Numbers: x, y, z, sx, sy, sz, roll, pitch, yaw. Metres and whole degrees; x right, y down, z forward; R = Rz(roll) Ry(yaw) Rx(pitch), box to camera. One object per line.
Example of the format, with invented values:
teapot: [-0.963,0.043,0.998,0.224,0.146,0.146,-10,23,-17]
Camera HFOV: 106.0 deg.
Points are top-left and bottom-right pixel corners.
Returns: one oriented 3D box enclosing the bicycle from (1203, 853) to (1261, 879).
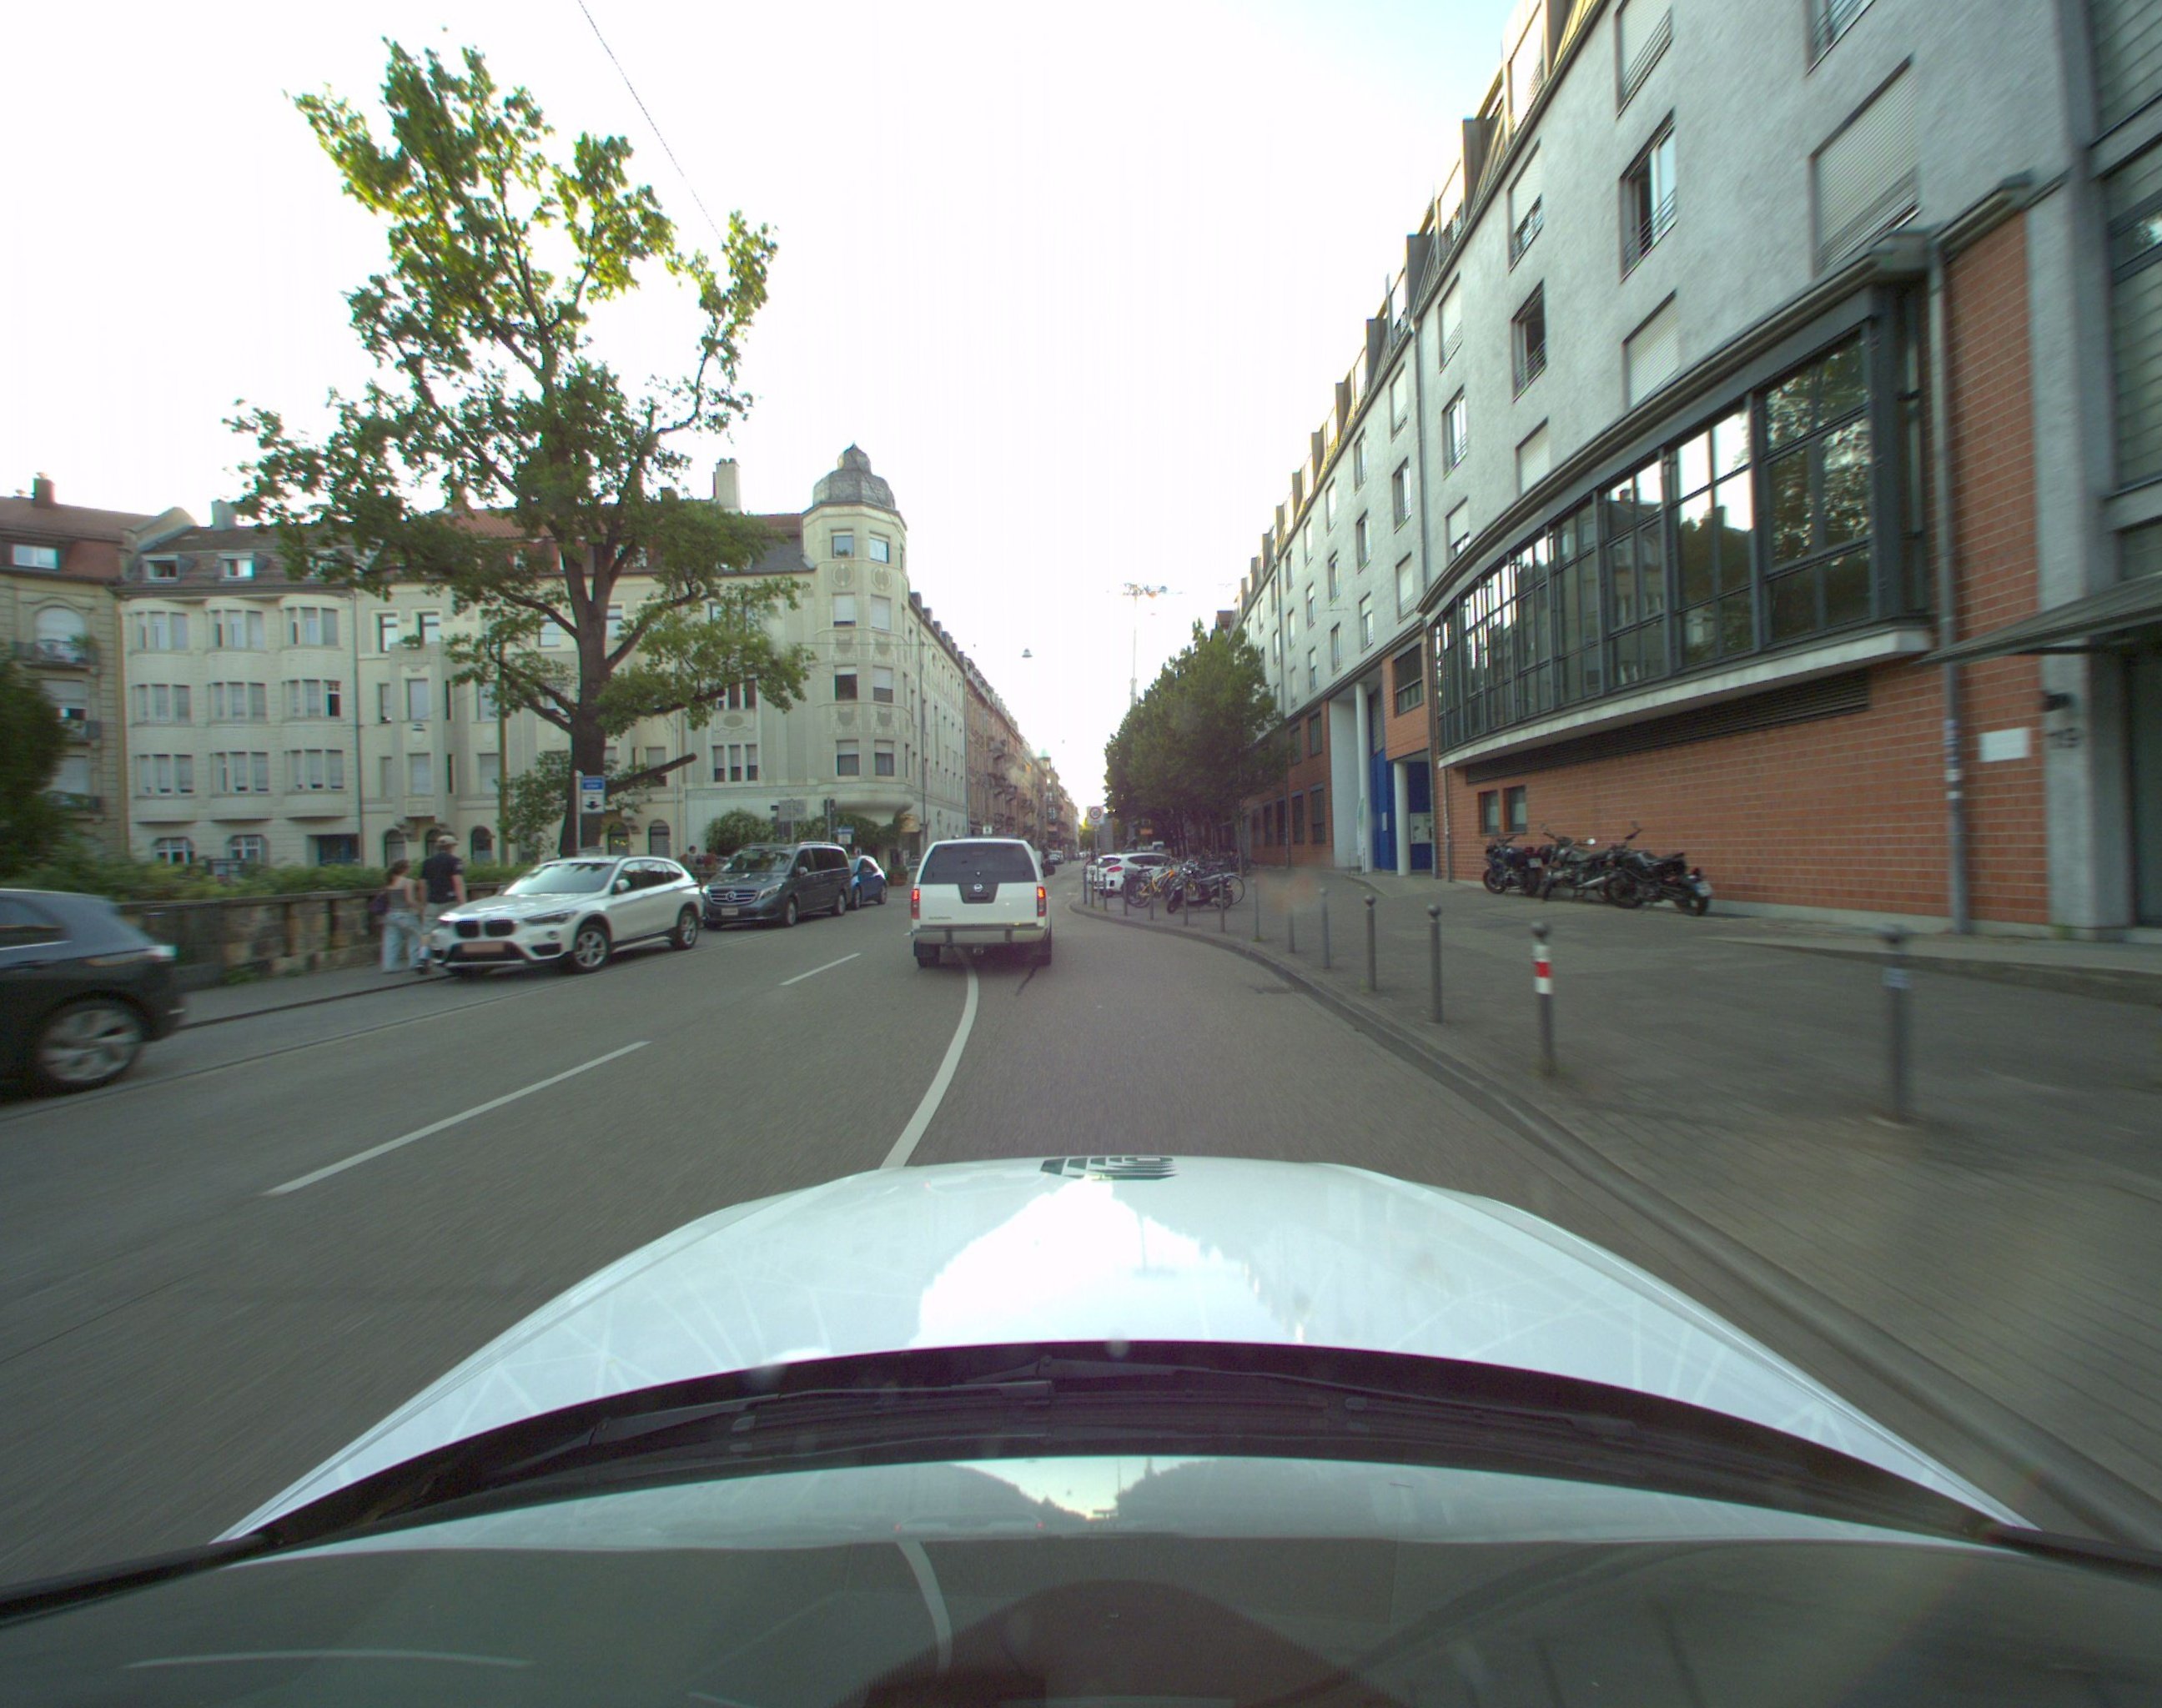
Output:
bicycle: [6.969,0.542,37.668,2.523,0.959,0.681,-5,0,4]

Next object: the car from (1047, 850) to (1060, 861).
car: [-4.067,0.185,120.575,1.703,1.530,4.001,-1,0,2]

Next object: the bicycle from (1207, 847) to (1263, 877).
bicycle: [6.870,0.350,36.462,2.336,1.099,0.681,-5,-1,4]

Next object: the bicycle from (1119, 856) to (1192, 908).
bicycle: [1.853,0.692,20.386,1.702,1.176,0.472,-4,0,0]

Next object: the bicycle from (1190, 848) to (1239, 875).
bicycle: [7.168,0.393,43.892,2.523,1.379,0.600,-2,0,4]

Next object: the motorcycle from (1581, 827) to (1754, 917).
motorcycle: [8.586,0.237,12.106,0.797,1.139,2.441,-4,0,1]

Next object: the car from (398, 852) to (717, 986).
car: [-7.481,0.802,12.316,1.865,1.592,4.468,-2,0,0]

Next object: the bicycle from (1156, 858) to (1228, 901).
bicycle: [2.993,0.686,21.994,1.851,1.038,0.402,-4,0,0]

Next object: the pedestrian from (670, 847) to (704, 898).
pedestrian: [-13.538,0.624,27.991,0.704,1.721,0.837,-2,0,0]

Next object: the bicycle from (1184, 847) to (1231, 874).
bicycle: [7.362,0.371,47.485,2.523,1.244,0.600,-7,-1,4]

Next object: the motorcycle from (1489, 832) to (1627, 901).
motorcycle: [8.791,0.220,15.163,0.775,1.139,2.407,-3,0,-11]

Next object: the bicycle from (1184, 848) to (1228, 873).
bicycle: [7.473,0.375,48.827,2.523,1.379,0.600,-2,0,4]

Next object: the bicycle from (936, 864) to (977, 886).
bicycle: [-6.179,1.039,40.437,2.090,1.095,0.504,-1,1,26]

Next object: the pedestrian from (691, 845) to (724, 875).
pedestrian: [-12.828,0.206,27.992,0.704,0.980,0.837,-2,0,0]

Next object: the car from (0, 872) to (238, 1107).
car: [-7.680,0.890,4.305,1.776,1.435,4.319,-2,0,3]

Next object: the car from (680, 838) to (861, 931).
car: [-7.120,0.632,19.435,1.985,1.866,5.294,-2,0,3]

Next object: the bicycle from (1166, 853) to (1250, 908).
bicycle: [3.049,0.620,19.631,1.852,1.146,0.659,-5,0,1]

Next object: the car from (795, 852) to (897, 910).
car: [-6.968,0.743,24.565,1.633,1.555,4.008,-2,0,4]

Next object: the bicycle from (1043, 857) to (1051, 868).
bicycle: [-3.255,0.829,78.253,0.612,1.040,1.905,-2,0,2]

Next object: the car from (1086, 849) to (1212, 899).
car: [2.373,0.645,28.189,4.010,1.506,1.754,-2,0,-28]

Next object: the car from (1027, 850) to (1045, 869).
car: [-4.629,0.593,84.520,1.553,1.921,3.857,0,0,1]

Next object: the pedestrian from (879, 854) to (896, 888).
pedestrian: [-9.880,0.863,41.614,0.608,1.675,0.571,-2,0,23]

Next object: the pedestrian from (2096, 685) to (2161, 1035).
pedestrian: [6.457,0.019,4.422,0.604,2.013,0.858,-6,0,3]

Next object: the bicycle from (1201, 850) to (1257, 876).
bicycle: [7.061,0.435,38.950,2.523,1.166,0.562,-2,0,4]

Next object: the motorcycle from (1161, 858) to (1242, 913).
motorcycle: [2.721,0.696,18.480,1.643,1.101,0.645,-4,0,-7]

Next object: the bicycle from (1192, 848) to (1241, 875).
bicycle: [7.171,0.391,43.177,2.523,1.379,0.600,-2,0,4]

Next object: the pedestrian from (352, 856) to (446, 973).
pedestrian: [-9.455,0.811,11.314,0.580,1.552,0.839,-1,0,-2]

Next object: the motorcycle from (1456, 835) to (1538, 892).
motorcycle: [8.924,0.193,17.574,0.586,1.103,2.083,-5,0,-1]

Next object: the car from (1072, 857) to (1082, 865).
car: [-0.937,1.549,182.025,1.838,1.552,4.361,-2,0,5]

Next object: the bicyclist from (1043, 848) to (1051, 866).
bicyclist: [-3.276,0.322,78.232,0.600,1.684,1.143,-2,0,2]

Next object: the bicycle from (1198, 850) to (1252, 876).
bicycle: [7.100,0.438,40.172,2.523,1.166,0.562,-2,0,4]

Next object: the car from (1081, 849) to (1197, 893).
car: [2.216,0.645,30.896,4.014,1.473,1.857,-2,-1,-31]

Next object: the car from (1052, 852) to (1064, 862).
car: [-3.846,0.489,137.300,1.841,1.552,4.354,-2,0,-1]

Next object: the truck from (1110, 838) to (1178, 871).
truck: [5.995,0.067,77.691,6.294,2.977,2.265,-1,-3,3]

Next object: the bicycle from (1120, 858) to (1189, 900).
bicycle: [2.067,0.713,23.097,1.851,1.066,0.445,-4,0,0]

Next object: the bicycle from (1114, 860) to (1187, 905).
bicycle: [1.820,0.752,21.449,1.851,1.038,0.472,-4,0,0]

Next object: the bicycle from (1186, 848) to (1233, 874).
bicycle: [7.272,0.417,46.055,2.523,1.379,0.600,-2,0,4]

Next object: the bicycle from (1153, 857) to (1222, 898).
bicycle: [3.113,0.675,23.927,1.905,1.066,0.524,-4,0,0]

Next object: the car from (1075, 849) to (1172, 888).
car: [1.879,0.599,35.995,4.011,1.537,1.620,-2,0,-29]

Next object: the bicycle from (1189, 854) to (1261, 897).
bicycle: [4.016,0.606,22.747,1.851,1.066,0.524,-4,0,0]

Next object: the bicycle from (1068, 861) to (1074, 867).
bicycle: [-1.462,1.442,118.833,0.798,0.947,2.004,-1,0,0]

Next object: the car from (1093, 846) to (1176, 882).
car: [2.579,0.466,38.937,3.618,1.580,1.699,-2,0,-32]

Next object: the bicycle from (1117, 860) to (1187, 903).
bicycle: [1.943,0.755,22.429,1.851,1.066,0.445,-4,0,0]

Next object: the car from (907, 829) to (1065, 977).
car: [-1.329,0.618,12.499,1.929,1.794,4.615,-1,0,-4]

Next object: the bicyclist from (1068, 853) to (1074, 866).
bicyclist: [-1.484,0.825,118.866,0.798,1.849,0.943,-1,0,-1]

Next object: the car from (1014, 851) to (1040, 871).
car: [-4.836,0.603,73.497,1.986,1.653,4.001,-1,0,1]

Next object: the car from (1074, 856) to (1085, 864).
car: [-0.364,1.142,166.596,1.838,1.552,4.360,-2,0,4]

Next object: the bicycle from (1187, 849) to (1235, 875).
bicycle: [7.236,0.432,45.357,2.523,1.379,0.600,-2,0,4]

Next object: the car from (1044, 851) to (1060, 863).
car: [-4.034,0.421,113.678,1.784,1.530,4.002,-1,0,2]

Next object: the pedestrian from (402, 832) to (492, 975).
pedestrian: [-8.823,0.670,11.362,0.580,1.905,0.802,-2,0,-2]

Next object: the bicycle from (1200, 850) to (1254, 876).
bicycle: [7.066,0.442,39.562,2.523,1.166,0.562,-2,0,4]

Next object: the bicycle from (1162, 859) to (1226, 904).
bicycle: [2.890,0.701,20.934,1.535,1.038,0.472,-4,0,0]

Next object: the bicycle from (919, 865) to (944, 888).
bicycle: [-7.207,1.079,39.297,0.420,1.012,1.726,-1,1,15]

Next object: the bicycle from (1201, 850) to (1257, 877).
bicycle: [6.957,0.446,38.323,2.523,1.166,0.562,-2,0,4]

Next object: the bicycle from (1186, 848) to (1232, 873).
bicycle: [7.321,0.369,46.776,2.523,1.379,0.600,-2,0,4]

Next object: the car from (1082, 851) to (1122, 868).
car: [2.311,0.578,88.541,4.173,1.780,1.823,-1,0,7]
